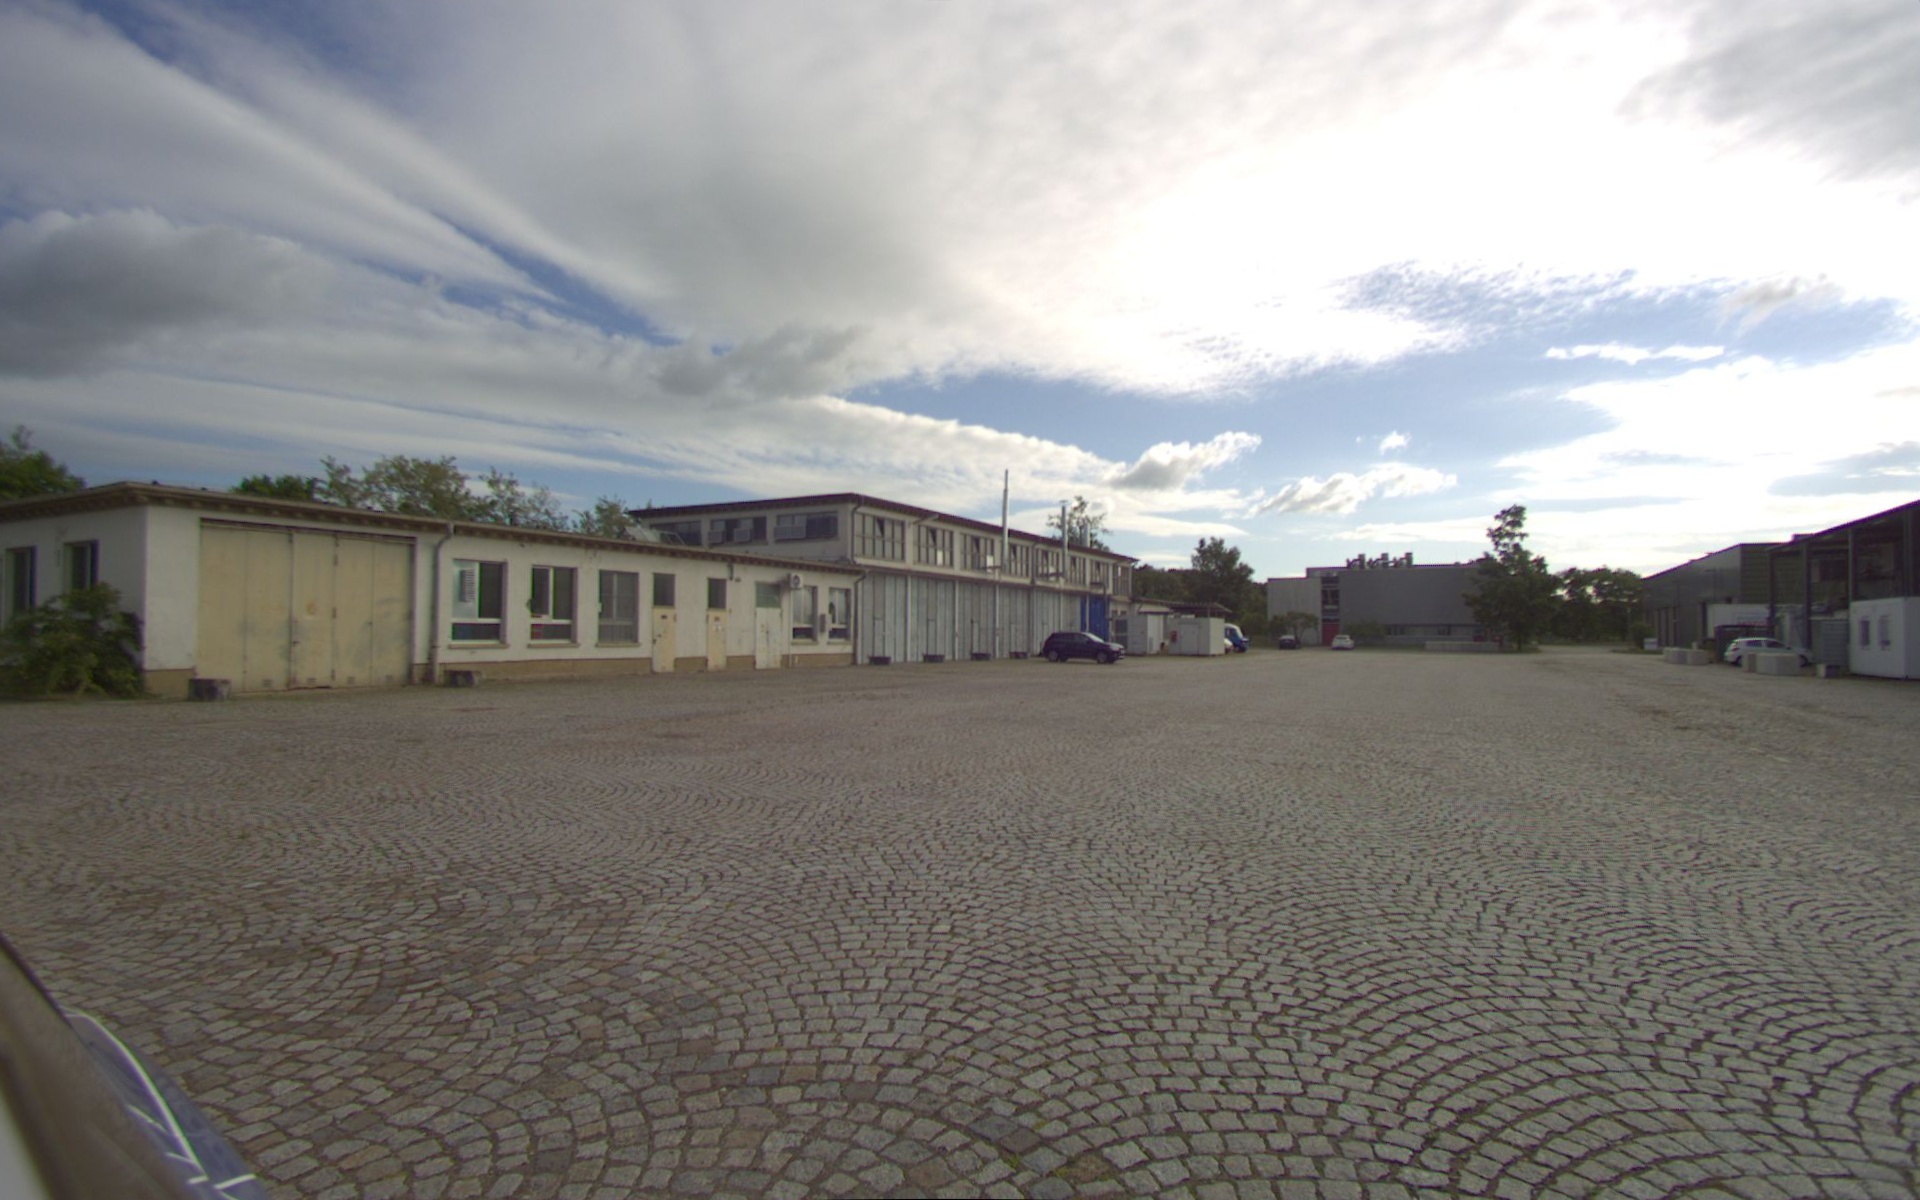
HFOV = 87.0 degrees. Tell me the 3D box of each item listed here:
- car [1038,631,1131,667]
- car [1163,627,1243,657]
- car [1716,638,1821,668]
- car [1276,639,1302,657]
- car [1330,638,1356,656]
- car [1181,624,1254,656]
[{"bbox_3d":[6.500,2.548,52.702,4.414,1.770,1.981,-1,-5,28],"label":"car"},{"bbox_3d":[18.572,3.228,77.423,5.602,2.236,2.429,-1,-3,27],"label":"car"},{"bbox_3d":[42.957,2.797,53.892,3.979,1.503,1.982,-1,-3,27],"label":"car"},{"bbox_3d":[34.020,4.949,104.720,1.990,1.824,3.963,-1,-3,27],"label":"car"},{"bbox_3d":[38.867,4.751,102.647,2.143,1.824,3.963,-1,-3,27],"label":"car"},{"bbox_3d":[21.730,3.366,85.415,5.602,2.635,2.429,-1,-3,27],"label":"car"}]
